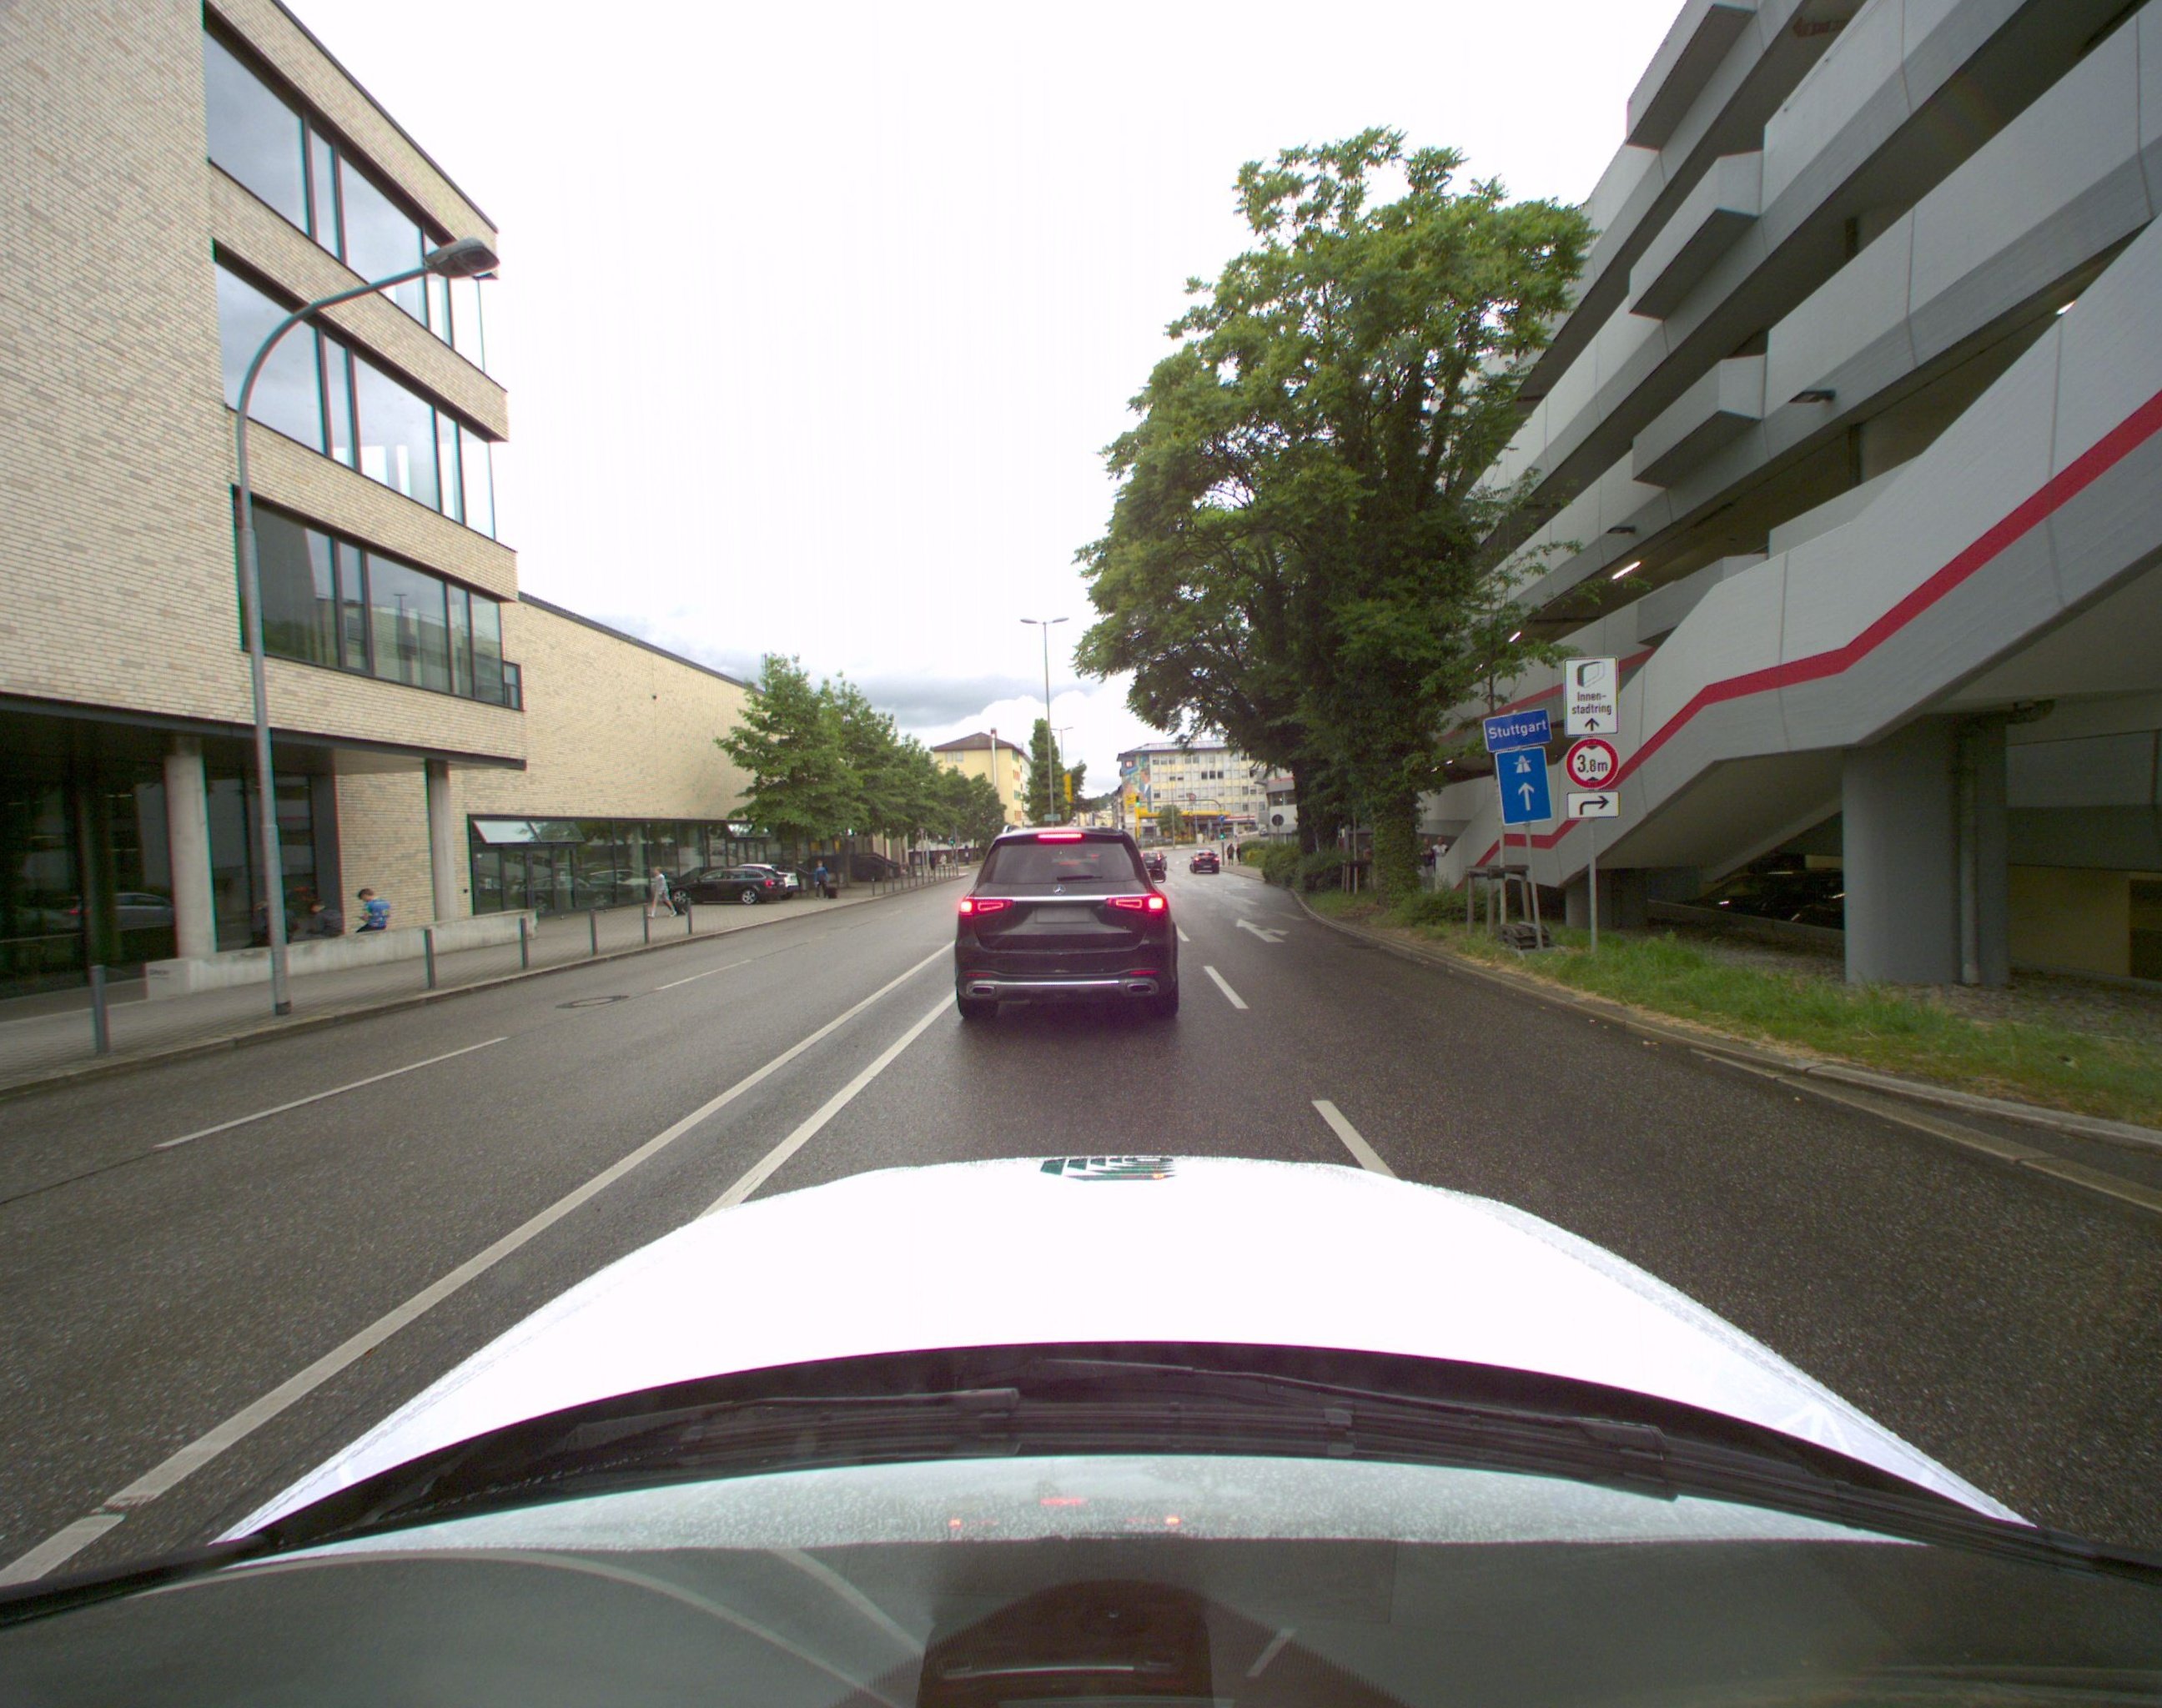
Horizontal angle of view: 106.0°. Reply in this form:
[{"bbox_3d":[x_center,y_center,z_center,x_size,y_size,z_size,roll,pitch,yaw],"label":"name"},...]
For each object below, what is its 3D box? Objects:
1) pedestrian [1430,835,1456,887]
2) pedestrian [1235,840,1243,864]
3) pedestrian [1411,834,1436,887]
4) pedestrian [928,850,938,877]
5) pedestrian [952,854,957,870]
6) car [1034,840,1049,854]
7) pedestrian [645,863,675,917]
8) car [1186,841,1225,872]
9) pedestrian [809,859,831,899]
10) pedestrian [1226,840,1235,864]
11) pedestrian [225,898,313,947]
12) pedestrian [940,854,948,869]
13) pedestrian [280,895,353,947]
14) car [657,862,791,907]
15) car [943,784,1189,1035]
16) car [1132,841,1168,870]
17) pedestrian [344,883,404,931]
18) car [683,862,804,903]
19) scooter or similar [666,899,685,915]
[{"bbox_3d":[10.636,0.203,23.929,0.579,1.501,0.505,0,-1,7],"label":"pedestrian"},{"bbox_3d":[12.656,-0.132,65.323,0.518,1.911,0.556,0,-1,1],"label":"pedestrian"},{"bbox_3d":[10.039,0.185,23.852,0.548,1.532,0.489,0,-1,8],"label":"pedestrian"},{"bbox_3d":[-11.005,0.685,60.474,0.586,2.014,0.749,1,-1,0],"label":"pedestrian"},{"bbox_3d":[-12.797,0.822,82.637,0.398,1.644,0.567,0,-1,2],"label":"pedestrian"},{"bbox_3d":[-5.809,-1.024,121.423,1.987,1.875,5.141,0,-1,0],"label":"car"},{"bbox_3d":[-13.407,1.135,25.942,0.673,1.697,0.479,0,0,1],"label":"pedestrian"},{"bbox_3d":[8.269,0.143,54.549,1.987,2.013,3.999,-1,0,0],"label":"car"},{"bbox_3d":[-11.408,1.079,35.566,0.686,1.725,0.754,0,1,0],"label":"pedestrian"},{"bbox_3d":[12.243,-0.175,66.672,0.617,1.935,0.611,0,-1,5],"label":"pedestrian"},{"bbox_3d":[-13.498,1.148,13.558,0.595,0.786,0.760,0,-7,1],"label":"pedestrian"},{"bbox_3d":[-13.682,0.767,81.510,0.709,1.462,0.598,0,-1,0],"label":"pedestrian"},{"bbox_3d":[-13.529,1.177,14.425,0.584,0.845,0.727,-1,-1,1],"label":"pedestrian"},{"bbox_3d":[-14.175,1.189,32.586,4.461,1.587,1.997,-1,0,-5],"label":"car"},{"bbox_3d":[-0.103,0.467,8.597,1.987,2.014,4.000,0,-1,0],"label":"car"},{"bbox_3d":[5.004,0.109,59.159,1.990,2.014,3.993,0,-1,-4],"label":"car"},{"bbox_3d":[-13.498,1.002,15.555,0.680,0.886,0.523,0,-1,-5],"label":"pedestrian"},{"bbox_3d":[-14.570,1.214,35.376,4.407,1.574,1.998,-1,1,-4],"label":"car"},{"bbox_3d":[-13.193,1.721,26.515,0.279,0.501,0.616,0,-1,3],"label":"scooter or similar"}]
